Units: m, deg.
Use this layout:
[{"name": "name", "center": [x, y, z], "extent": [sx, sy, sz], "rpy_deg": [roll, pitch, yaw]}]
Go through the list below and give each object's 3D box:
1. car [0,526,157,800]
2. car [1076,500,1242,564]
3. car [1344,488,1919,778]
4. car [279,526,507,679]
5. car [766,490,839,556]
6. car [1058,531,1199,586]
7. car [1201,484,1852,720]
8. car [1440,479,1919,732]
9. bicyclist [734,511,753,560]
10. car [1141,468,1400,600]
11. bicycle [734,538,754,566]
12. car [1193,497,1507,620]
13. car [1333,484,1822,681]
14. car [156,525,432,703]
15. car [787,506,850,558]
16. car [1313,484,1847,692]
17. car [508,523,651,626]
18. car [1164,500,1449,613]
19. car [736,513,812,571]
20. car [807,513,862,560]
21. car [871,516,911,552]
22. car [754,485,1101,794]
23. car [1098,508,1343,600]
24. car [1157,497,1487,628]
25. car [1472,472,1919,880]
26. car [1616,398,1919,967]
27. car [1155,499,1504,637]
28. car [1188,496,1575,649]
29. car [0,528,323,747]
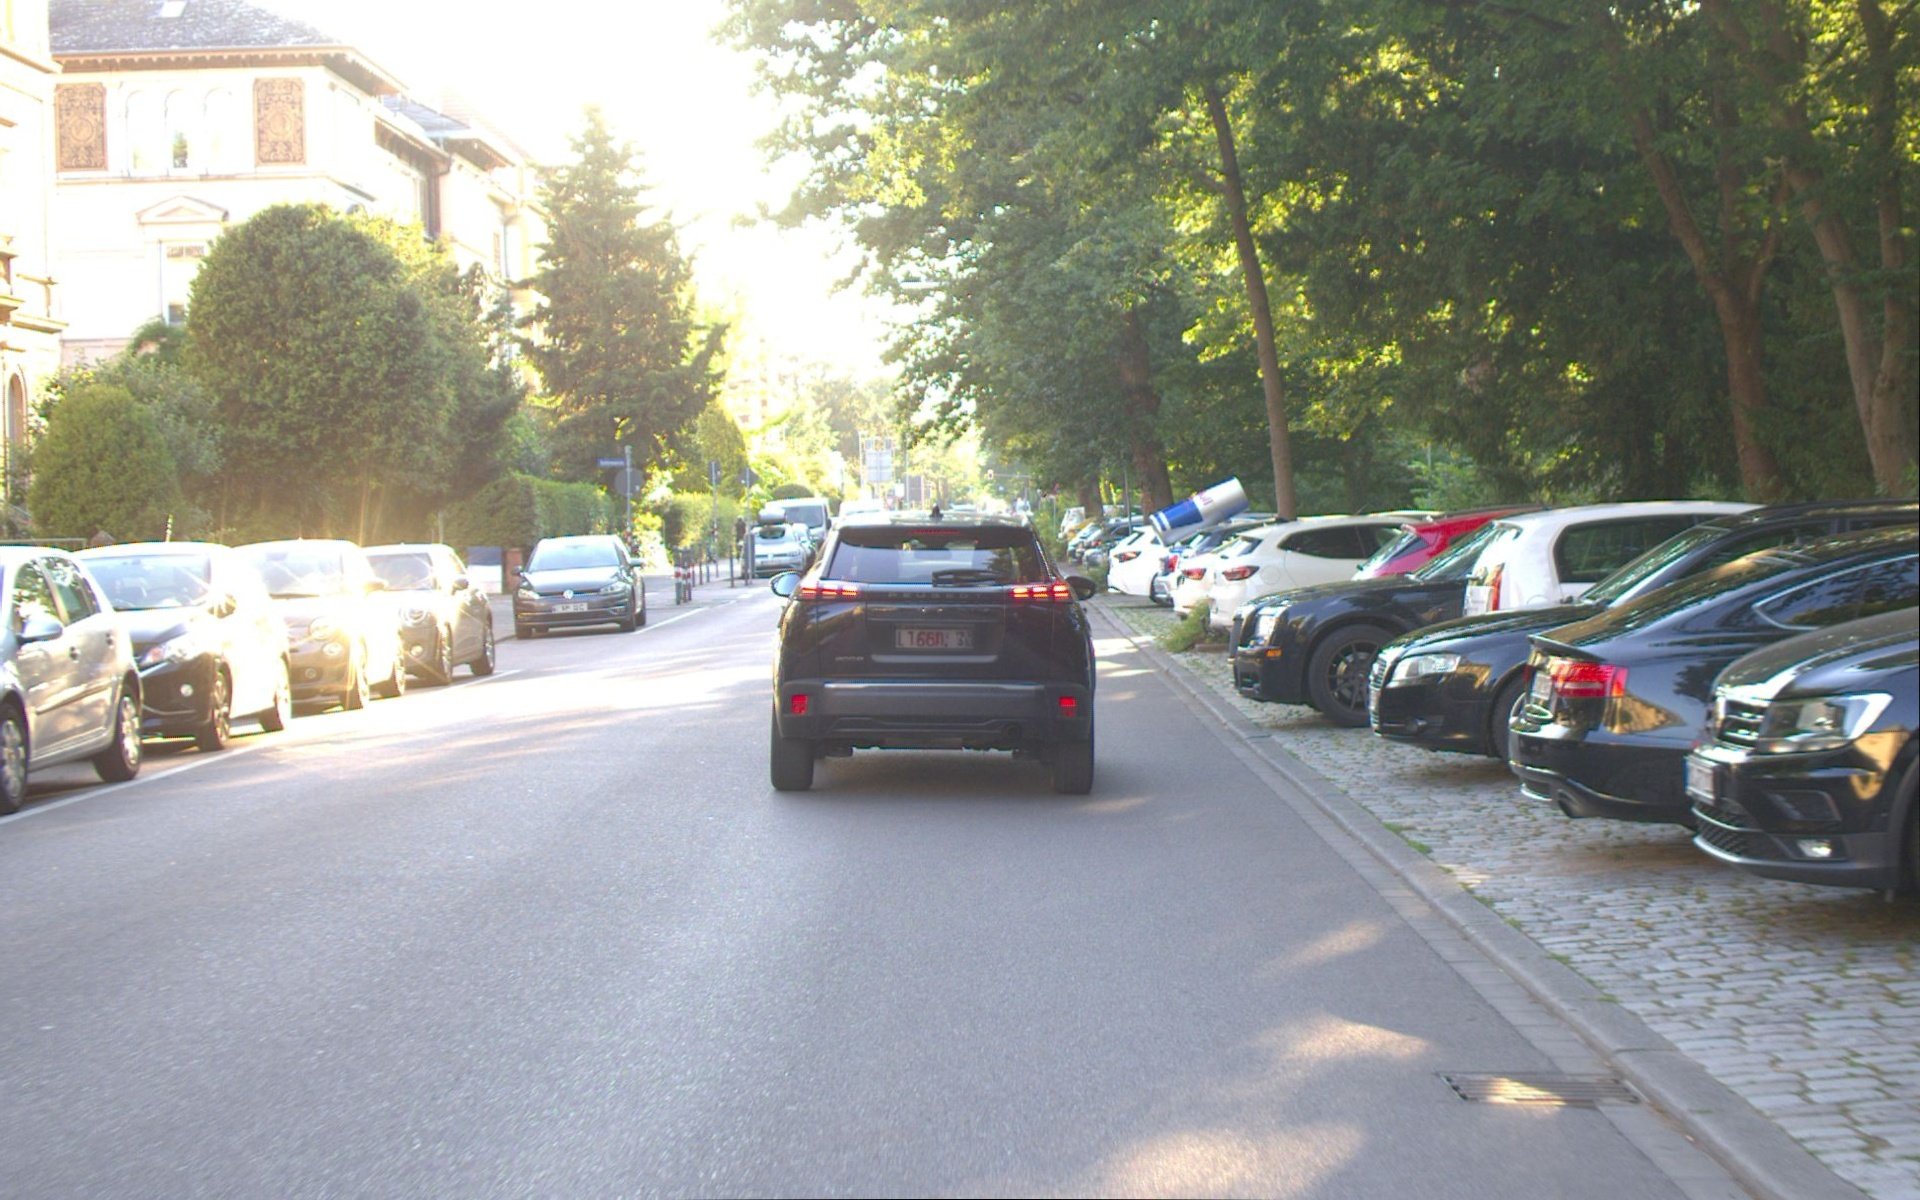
[{"name": "car", "center": [-5.935, 0.336, 19.748], "extent": [1.613, 1.461, 4.036], "rpy_deg": [-1, 1, 1]}, {"name": "car", "center": [4.861, -1.660, 84.325], "extent": [3.987, 1.520, 1.758], "rpy_deg": [-1, 1, 2]}, {"name": "car", "center": [4.306, 0.142, 19.270], "extent": [4.158, 1.444, 1.730], "rpy_deg": [-2, 1, 4]}, {"name": "car", "center": [-5.824, -0.010, 35.714], "extent": [1.613, 1.461, 4.036], "rpy_deg": [-1, 1, 1]}, {"name": "car", "center": [-4.929, -2.404, 107.938], "extent": [1.993, 2.007, 4.000], "rpy_deg": [-1, 1, 2]}, {"name": "car", "center": [4.798, -1.176, 98.160], "extent": [3.987, 1.520, 1.758], "rpy_deg": [-1, 1, 2]}, {"name": "car", "center": [3.969, -0.002, 24.619], "extent": [4.242, 1.444, 2.022], "rpy_deg": [-2, 1, -1]}, {"name": "car", "center": [5.071, 0.002, 21.921], "extent": [3.808, 1.444, 1.826], "rpy_deg": [-2, 1, 4]}, {"name": "bicyclist", "center": [-7.994, -2.376, 127.008], "extent": [0.693, 1.786, 0.773], "rpy_deg": [-1, 1, -2]}, {"name": "car", "center": [5.074, -1.083, 56.414], "extent": [3.986, 2.082, 1.758], "rpy_deg": [-1, 1, -4]}, {"name": "bicycle", "center": [-7.973, -1.777, 126.992], "extent": [0.691, 1.012, 2.049], "rpy_deg": [-1, 1, -3]}, {"name": "car", "center": [5.291, -0.574, 46.940], "extent": [3.986, 1.619, 1.758], "rpy_deg": [-1, 1, -4]}, {"name": "car", "center": [5.317, -0.163, 29.906], "extent": [3.807, 1.505, 1.826], "rpy_deg": [-2, 1, -3]}, {"name": "car", "center": [-5.927, 0.089, 31.014], "extent": [1.613, 1.461, 4.036], "rpy_deg": [-1, 1, 1]}, {"name": "car", "center": [-4.913, -2.353, 119.814], "extent": [1.993, 1.762, 4.000], "rpy_deg": [-1, 1, 0]}, {"name": "car", "center": [4.878, -0.110, 27.404], "extent": [3.807, 1.444, 1.877], "rpy_deg": [-2, 1, -3]}, {"name": "car", "center": [-5.713, -0.411, 52.025], "extent": [1.752, 1.409, 3.765], "rpy_deg": [-3, 1, -1]}, {"name": "car", "center": [5.158, -0.657, 51.501], "extent": [3.986, 1.619, 1.758], "rpy_deg": [-1, 1, -4]}, {"name": "car", "center": [-5.244, -1.639, 97.302], "extent": [1.899, 1.568, 4.000], "rpy_deg": [-1, 1, 0]}, {"name": "car", "center": [-4.925, -2.490, 135.596], "extent": [1.993, 1.809, 4.000], "rpy_deg": [-1, 1, 0]}, {"name": "car", "center": [-3.550, -3.394, 177.214], "extent": [1.993, 1.809, 4.000], "rpy_deg": [-1, 1, 0]}, {"name": "car", "center": [-0.236, 0.160, 20.008], "extent": [1.771, 1.563, 4.109], "rpy_deg": [2, 1, -2]}, {"name": "car", "center": [4.472, -0.796, 59.292], "extent": [3.986, 1.520, 1.758], "rpy_deg": [-1, 1, -4]}, {"name": "car", "center": [4.640, -0.486, 44.400], "extent": [3.986, 1.619, 1.758], "rpy_deg": [-1, 1, -4]}, {"name": "car", "center": [4.312, 0.231, 14.511], "extent": [3.987, 1.549, 1.725], "rpy_deg": [-3, 1, 1]}, {"name": "car", "center": [4.596, 0.162, 11.849], "extent": [4.245, 1.783, 1.884], "rpy_deg": [-3, 1, 1]}, {"name": "car", "center": [4.493, -0.403, 42.131], "extent": [3.986, 1.619, 1.758], "rpy_deg": [-1, 1, -4]}, {"name": "car", "center": [4.474, -0.298, 36.859], "extent": [3.807, 1.444, 1.826], "rpy_deg": [-2, 1, -3]}, {"name": "car", "center": [-5.956, 0.229, 25.522], "extent": [1.613, 1.461, 4.036], "rpy_deg": [-1, 1, 1]}]
